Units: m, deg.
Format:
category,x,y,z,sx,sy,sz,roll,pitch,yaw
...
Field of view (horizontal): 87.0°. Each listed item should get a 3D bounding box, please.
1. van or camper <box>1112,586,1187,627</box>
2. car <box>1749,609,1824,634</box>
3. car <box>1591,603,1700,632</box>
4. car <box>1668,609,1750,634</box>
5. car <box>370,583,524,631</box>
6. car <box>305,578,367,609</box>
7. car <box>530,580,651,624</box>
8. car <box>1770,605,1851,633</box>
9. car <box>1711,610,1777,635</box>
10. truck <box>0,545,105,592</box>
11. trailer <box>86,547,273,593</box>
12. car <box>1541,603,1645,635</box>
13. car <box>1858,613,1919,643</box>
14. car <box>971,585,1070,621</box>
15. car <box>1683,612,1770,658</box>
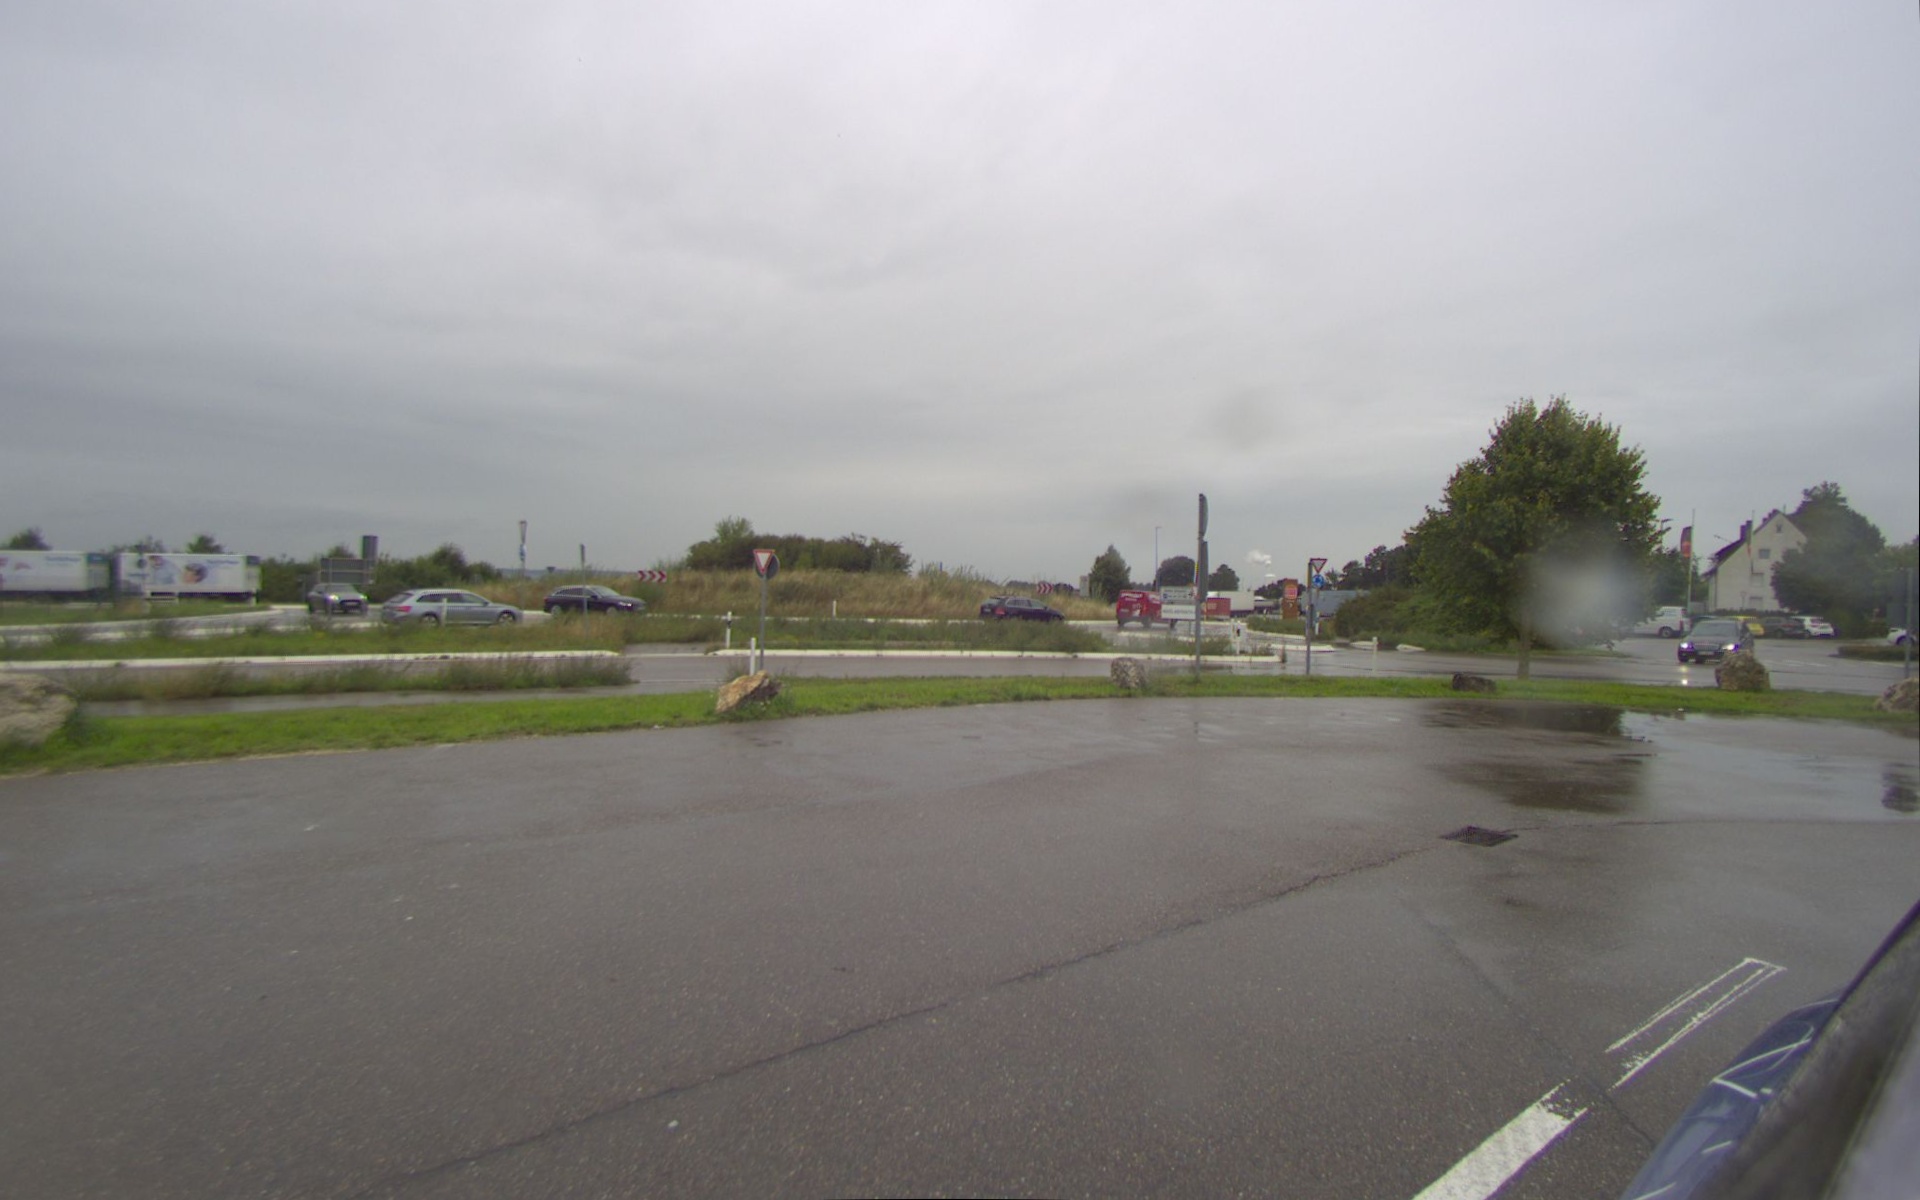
category,x,y,z,sx,sy,sz,roll,pitch,yaw
van or camper,10.397,0.359,55.359,1.990,2.038,4.781,4,2,38
car,54.803,1.397,67.185,1.715,1.590,3.890,1,0,-3
car,42.977,1.064,63.549,1.965,1.744,5.367,2,-1,-42
car,49.758,1.414,67.342,1.962,1.570,4.647,1,-1,0
car,-18.479,0.198,36.659,1.989,1.499,4.601,3,4,37
car,-31.181,-0.367,50.509,1.728,1.340,4.299,-1,4,-44
car,-16.123,0.051,44.294,4.581,1.704,1.893,2,2,0
car,57.066,1.248,67.999,1.951,1.750,4.002,1,-1,-3
car,52.211,1.499,67.478,1.636,1.569,3.723,1,-1,2
truck,-61.322,-2.040,66.509,7.627,2.945,2.188,1,-1,-15
trailer,-52.803,-1.984,68.771,9.929,2.939,2.211,1,0,-15
car,35.614,1.053,57.021,1.965,1.744,4.600,2,-1,-42
car,48.398,1.420,51.161,1.819,1.443,4.350,1,0,-43
car,2.896,0.144,47.828,4.439,1.623,1.999,0,0,-36
car,27.119,1.201,35.764,4.286,1.443,1.703,-1,0,-42
